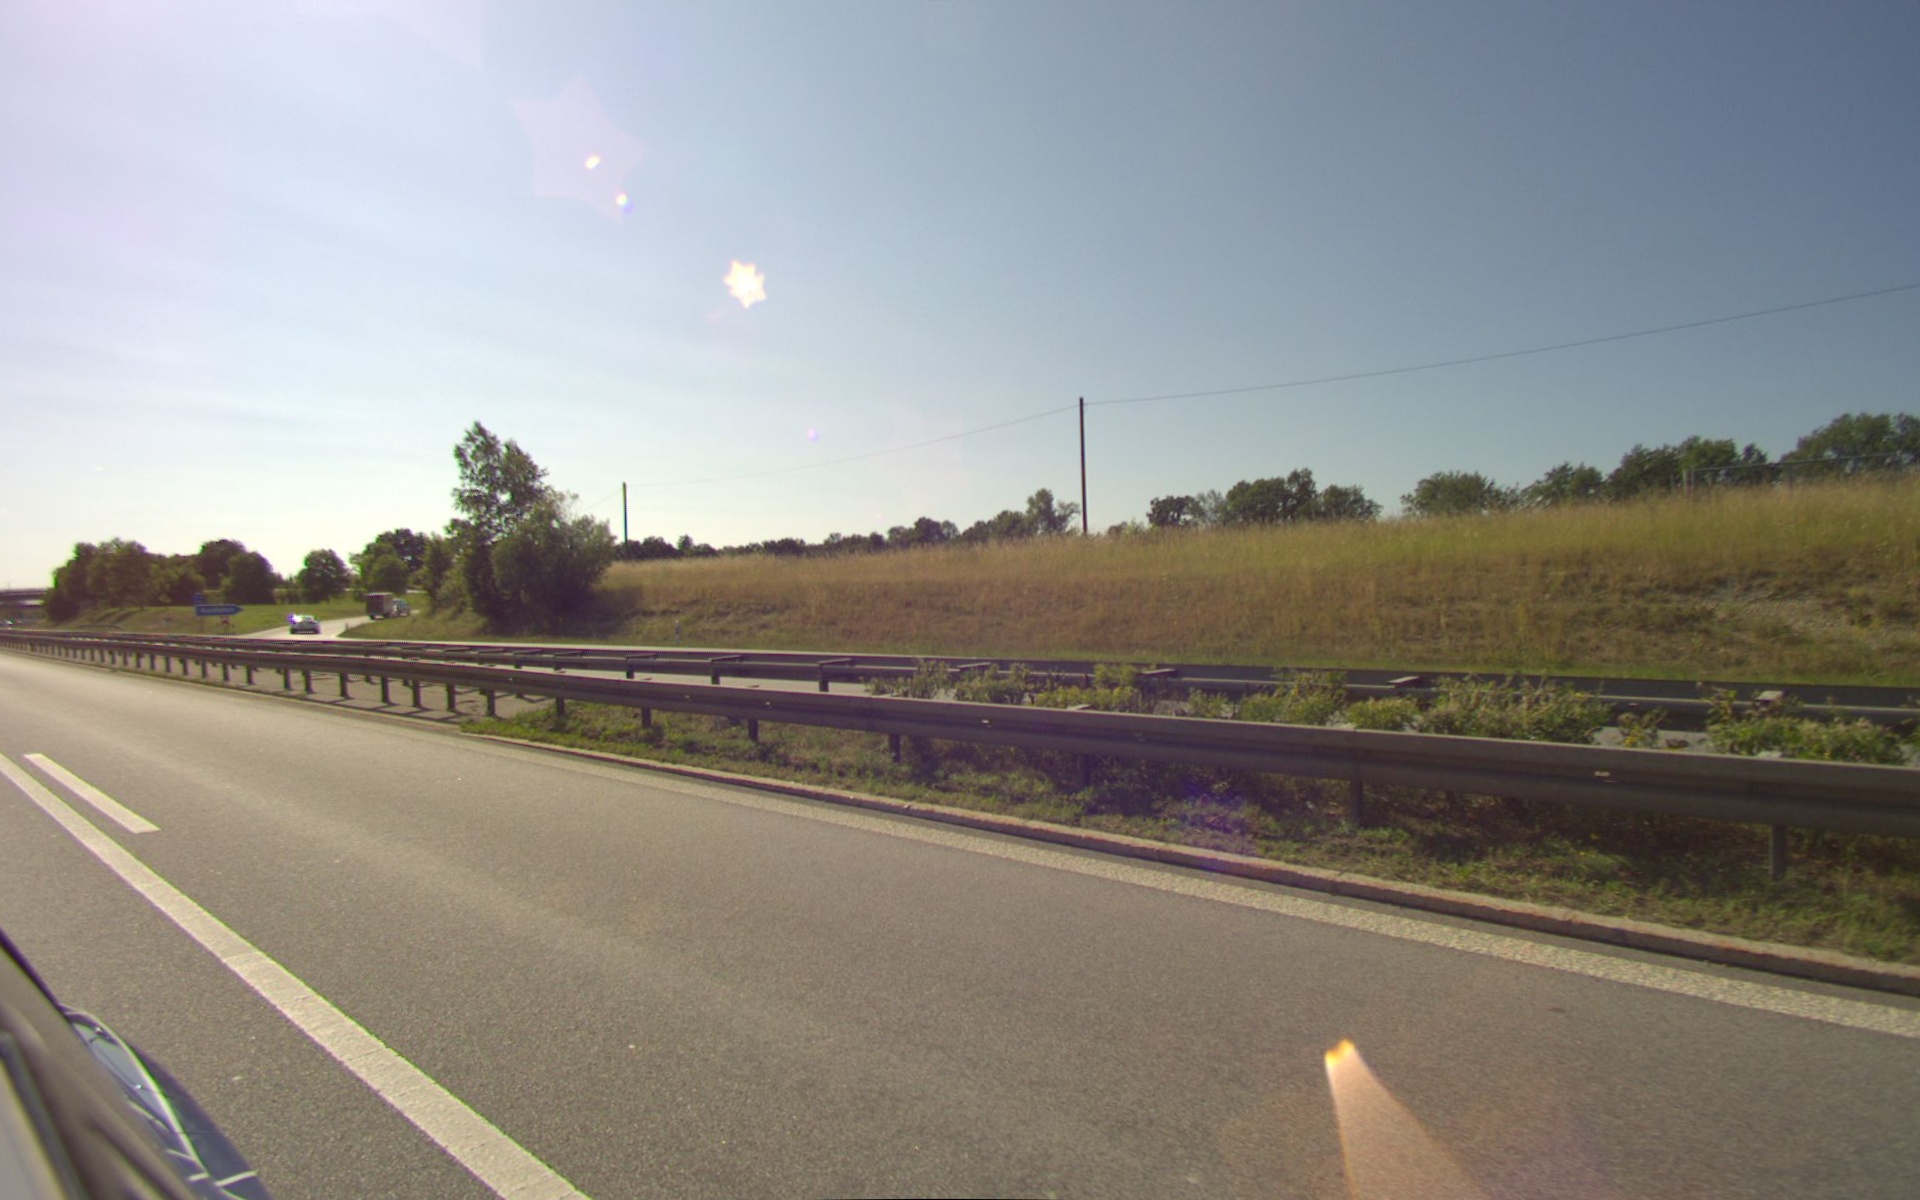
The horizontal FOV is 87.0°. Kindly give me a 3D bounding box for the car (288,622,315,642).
[{"bbox_3d":[-51.597,2.486,79.354,1.644,1.386,4.012,-1,0,-31],"label":"car"}]

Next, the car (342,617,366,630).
[{"bbox_3d":[-70.464,2.726,117.695,1.644,1.386,4.013,-1,0,-20],"label":"car"}]

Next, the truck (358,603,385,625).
[{"bbox_3d":[-65.009,1.521,111.840,1.923,2.430,4.796,-1,0,-23],"label":"truck"}]
